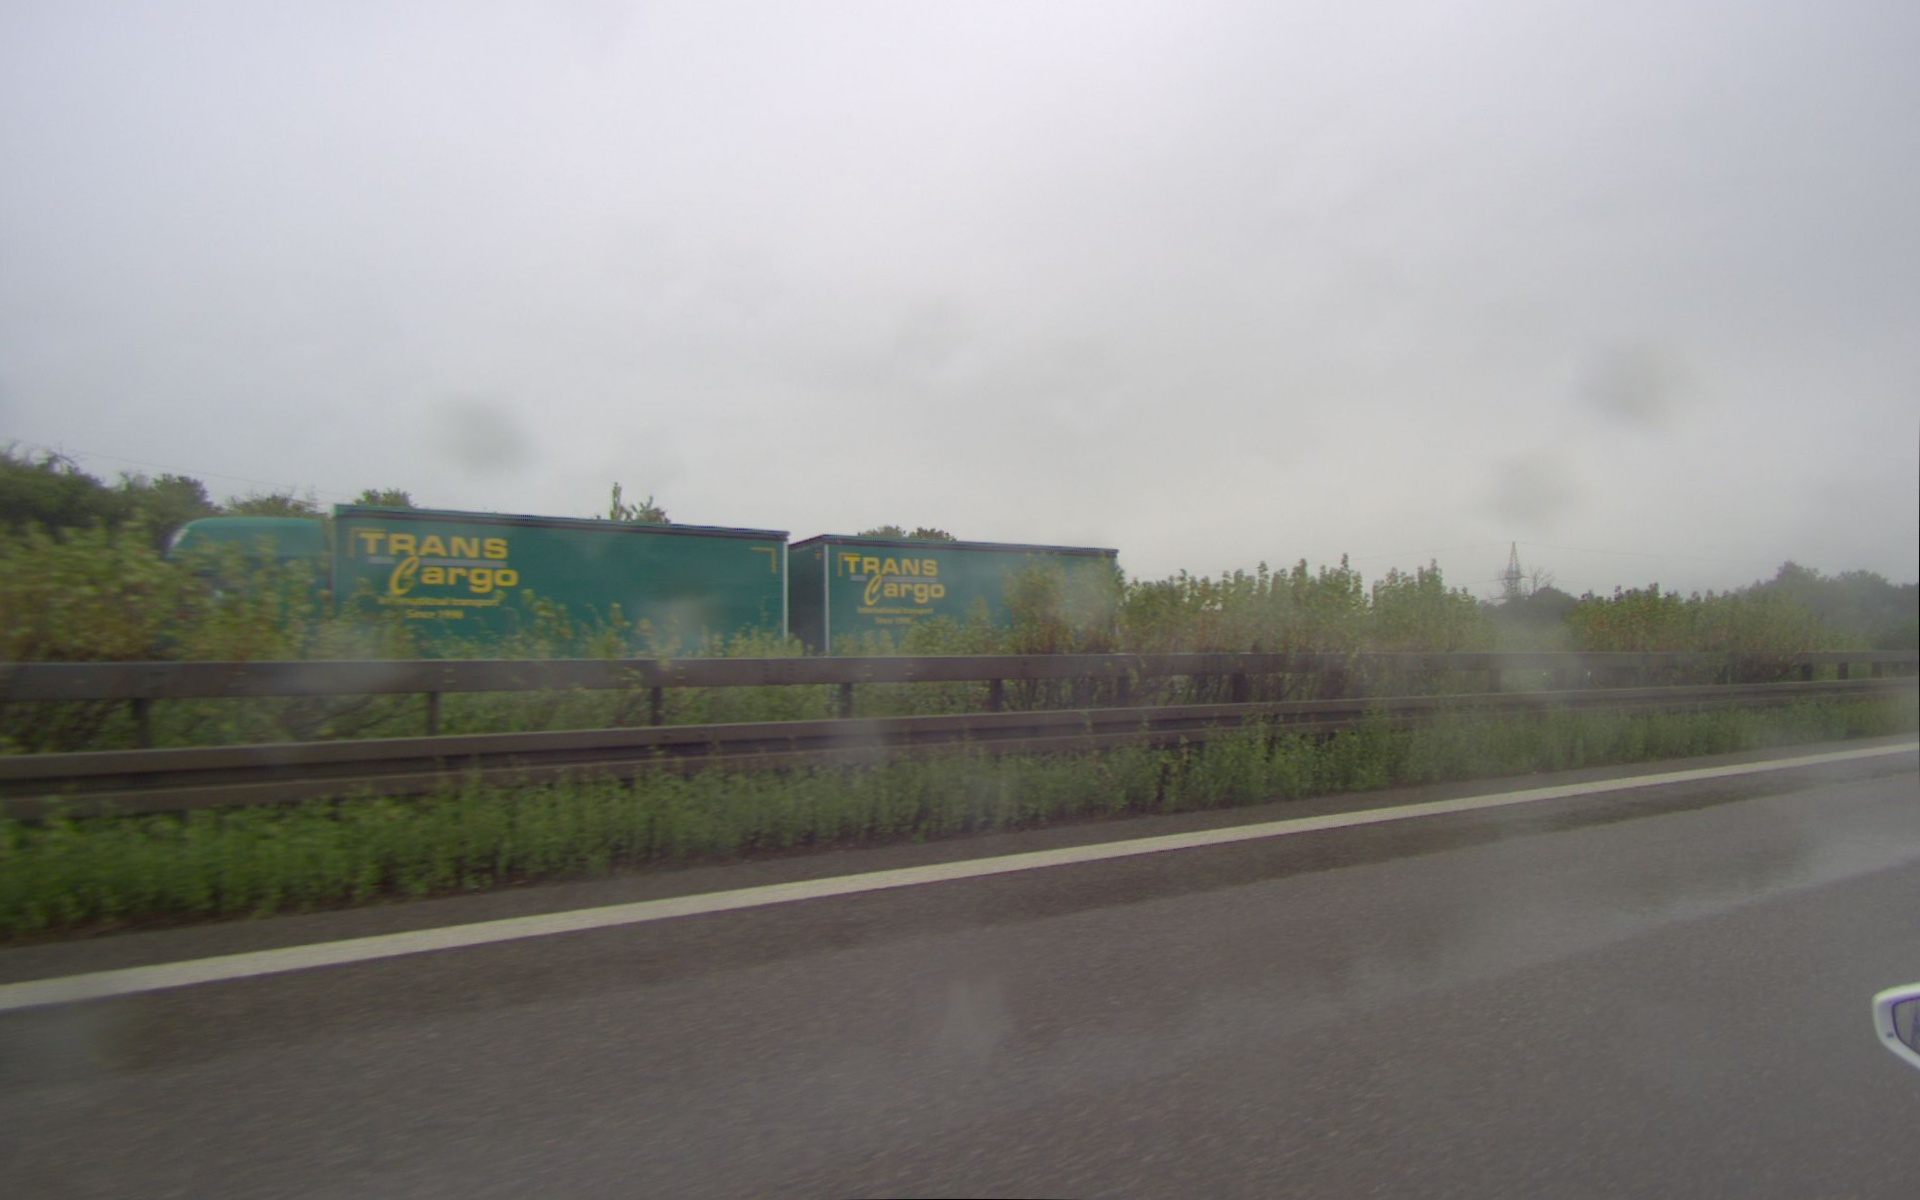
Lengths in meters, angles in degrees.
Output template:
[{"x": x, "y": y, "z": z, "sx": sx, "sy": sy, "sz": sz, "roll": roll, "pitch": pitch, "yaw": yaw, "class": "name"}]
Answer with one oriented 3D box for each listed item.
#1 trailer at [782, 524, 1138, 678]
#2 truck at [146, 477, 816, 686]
[{"x": 0.196, "y": 0.133, "z": 23.218, "sx": 8.167, "sy": 3.106, "sz": 2.236, "roll": 2, "pitch": 0, "yaw": -30, "class": "trailer"}, {"x": -7.986, "y": -0.132, "z": 18.447, "sx": 10.491, "sy": 3.077, "sz": 2.229, "roll": 2, "pitch": 0, "yaw": -30, "class": "truck"}]
